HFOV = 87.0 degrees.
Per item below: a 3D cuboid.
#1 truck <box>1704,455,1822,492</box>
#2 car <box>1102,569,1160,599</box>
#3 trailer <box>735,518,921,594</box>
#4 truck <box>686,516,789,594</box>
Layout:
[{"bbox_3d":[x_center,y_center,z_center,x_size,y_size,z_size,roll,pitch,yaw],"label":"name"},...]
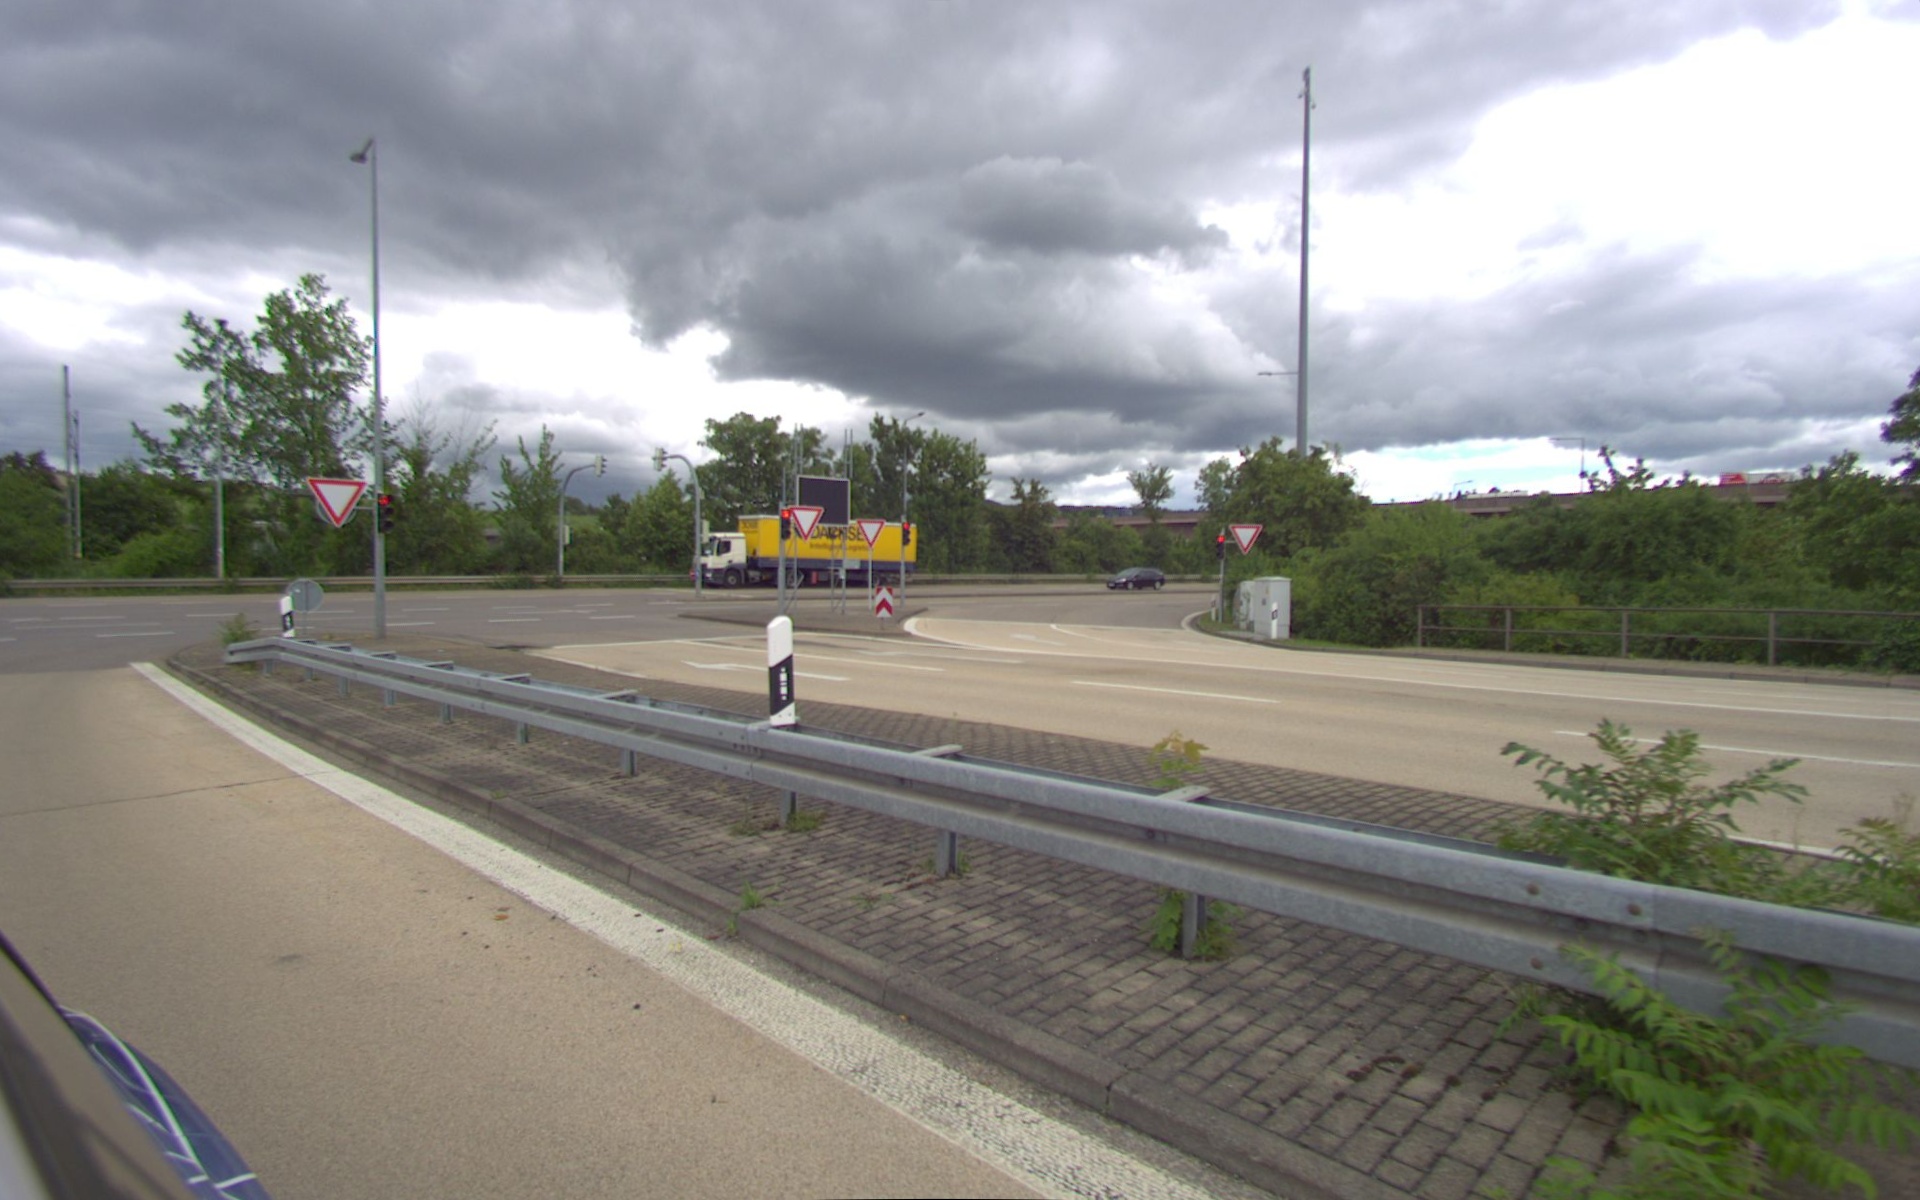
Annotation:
[{"bbox_3d":[93.707,-14.679,118.434,2.245,3.266,10.916,-1,1,-24],"label":"truck"},{"bbox_3d":[11.390,-1.079,67.228,4.062,1.673,1.631,-5,6,-41],"label":"car"},{"bbox_3d":[-7.713,-2.574,61.085,11.471,4.235,2.640,-1,2,-39],"label":"trailer"},{"bbox_3d":[-12.545,-2.493,57.156,5.021,4.235,2.640,-1,2,-39],"label":"truck"}]
